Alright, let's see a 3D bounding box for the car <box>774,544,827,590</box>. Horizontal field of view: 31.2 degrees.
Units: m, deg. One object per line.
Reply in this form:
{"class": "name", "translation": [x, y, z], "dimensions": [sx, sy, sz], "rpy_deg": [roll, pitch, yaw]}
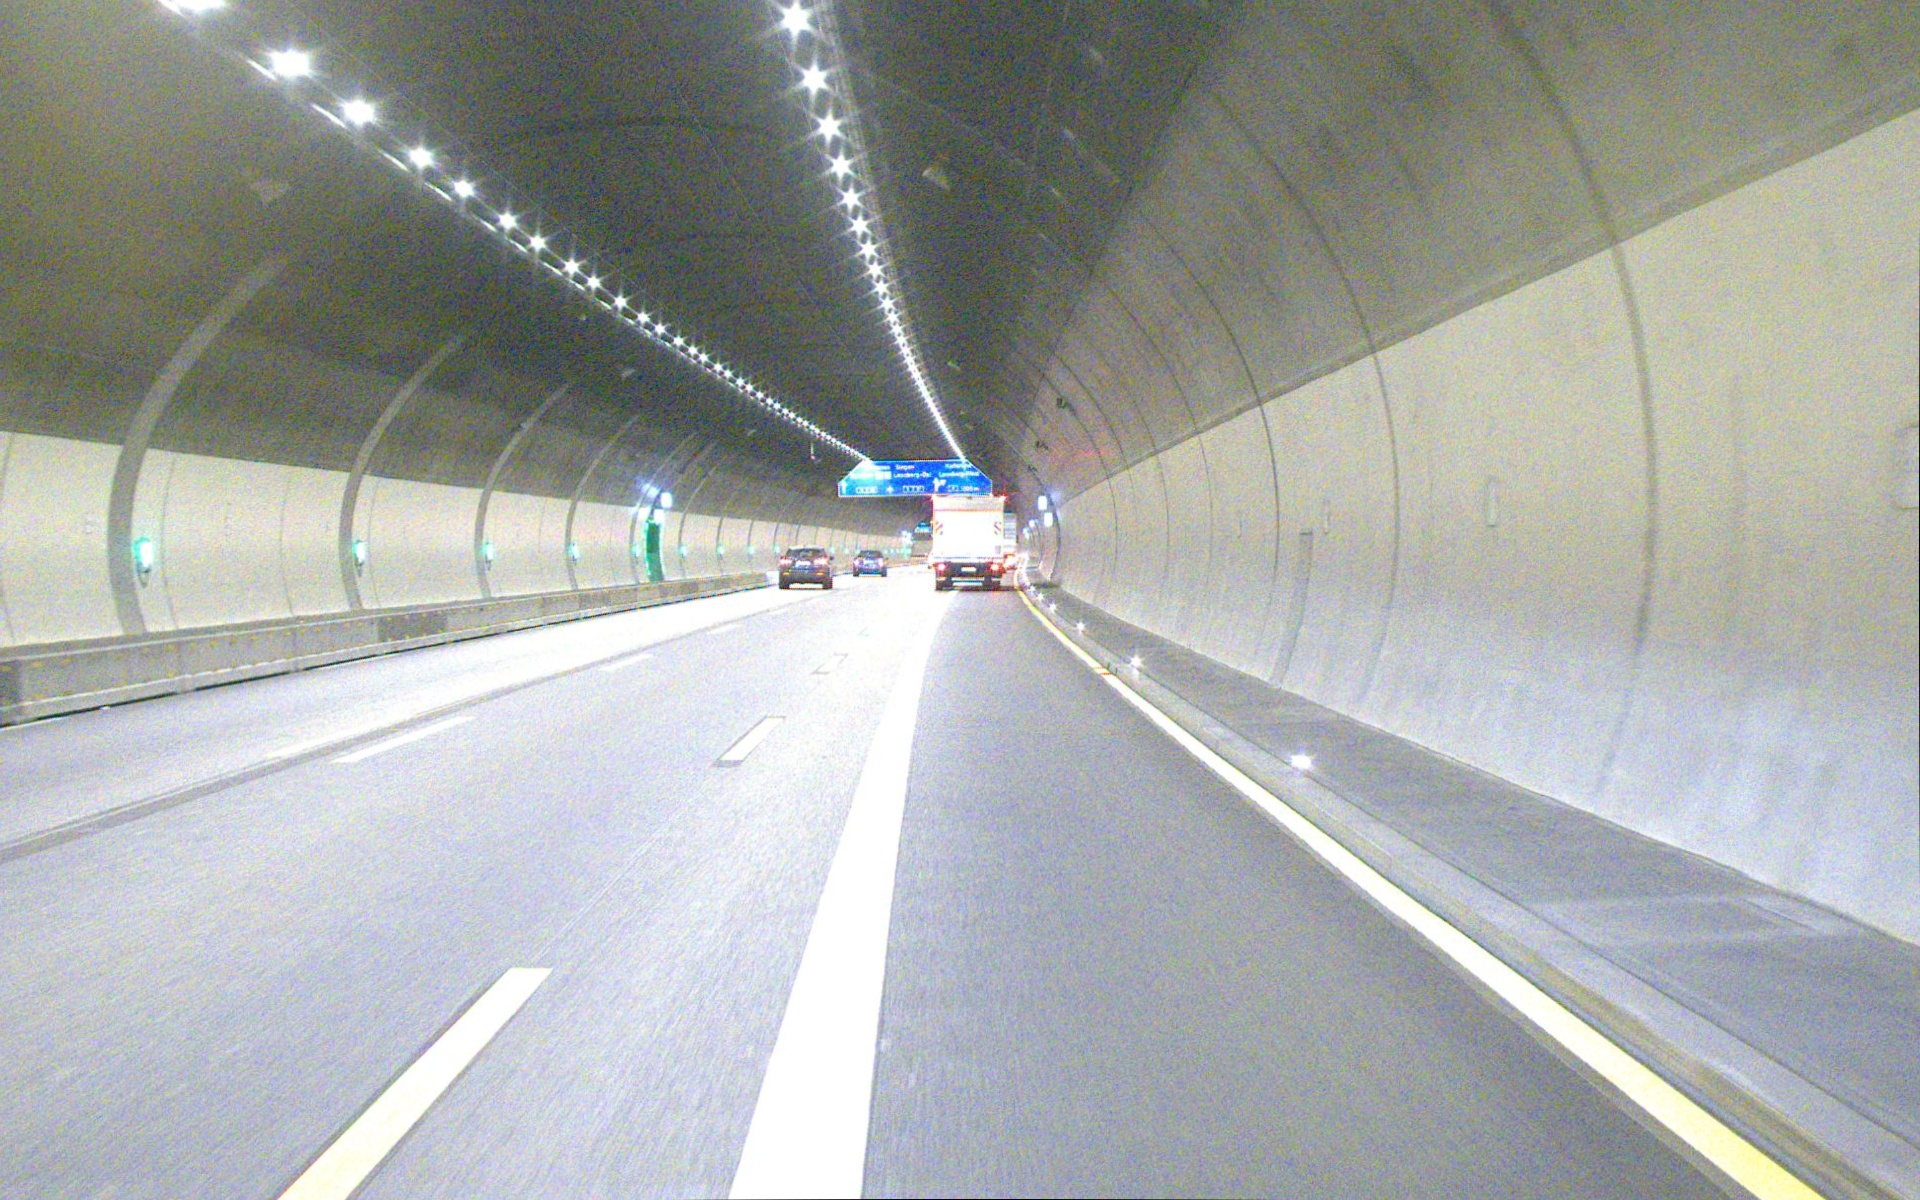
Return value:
{"class": "car", "translation": [-5.814, -1.231, 125.612], "dimensions": [1.812, 1.612, 4.001], "rpy_deg": [1, 1, -1]}

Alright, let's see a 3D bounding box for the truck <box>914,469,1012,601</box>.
{"class": "truck", "translation": [-0.006, -2.462, 130.943], "dimensions": [3.278, 4.634, 17.288], "rpy_deg": [-1, 1, -1]}

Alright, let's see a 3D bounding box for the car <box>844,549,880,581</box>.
{"class": "car", "translation": [-5.148, -1.857, 180.450], "dimensions": [1.812, 1.514, 4.001], "rpy_deg": [1, 3, -3]}

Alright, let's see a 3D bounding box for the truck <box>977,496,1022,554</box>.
{"class": "truck", "translation": [2.818, -5.418, 249.129], "dimensions": [2.922, 4.034, 14.030], "rpy_deg": [-1, 1, -1]}
